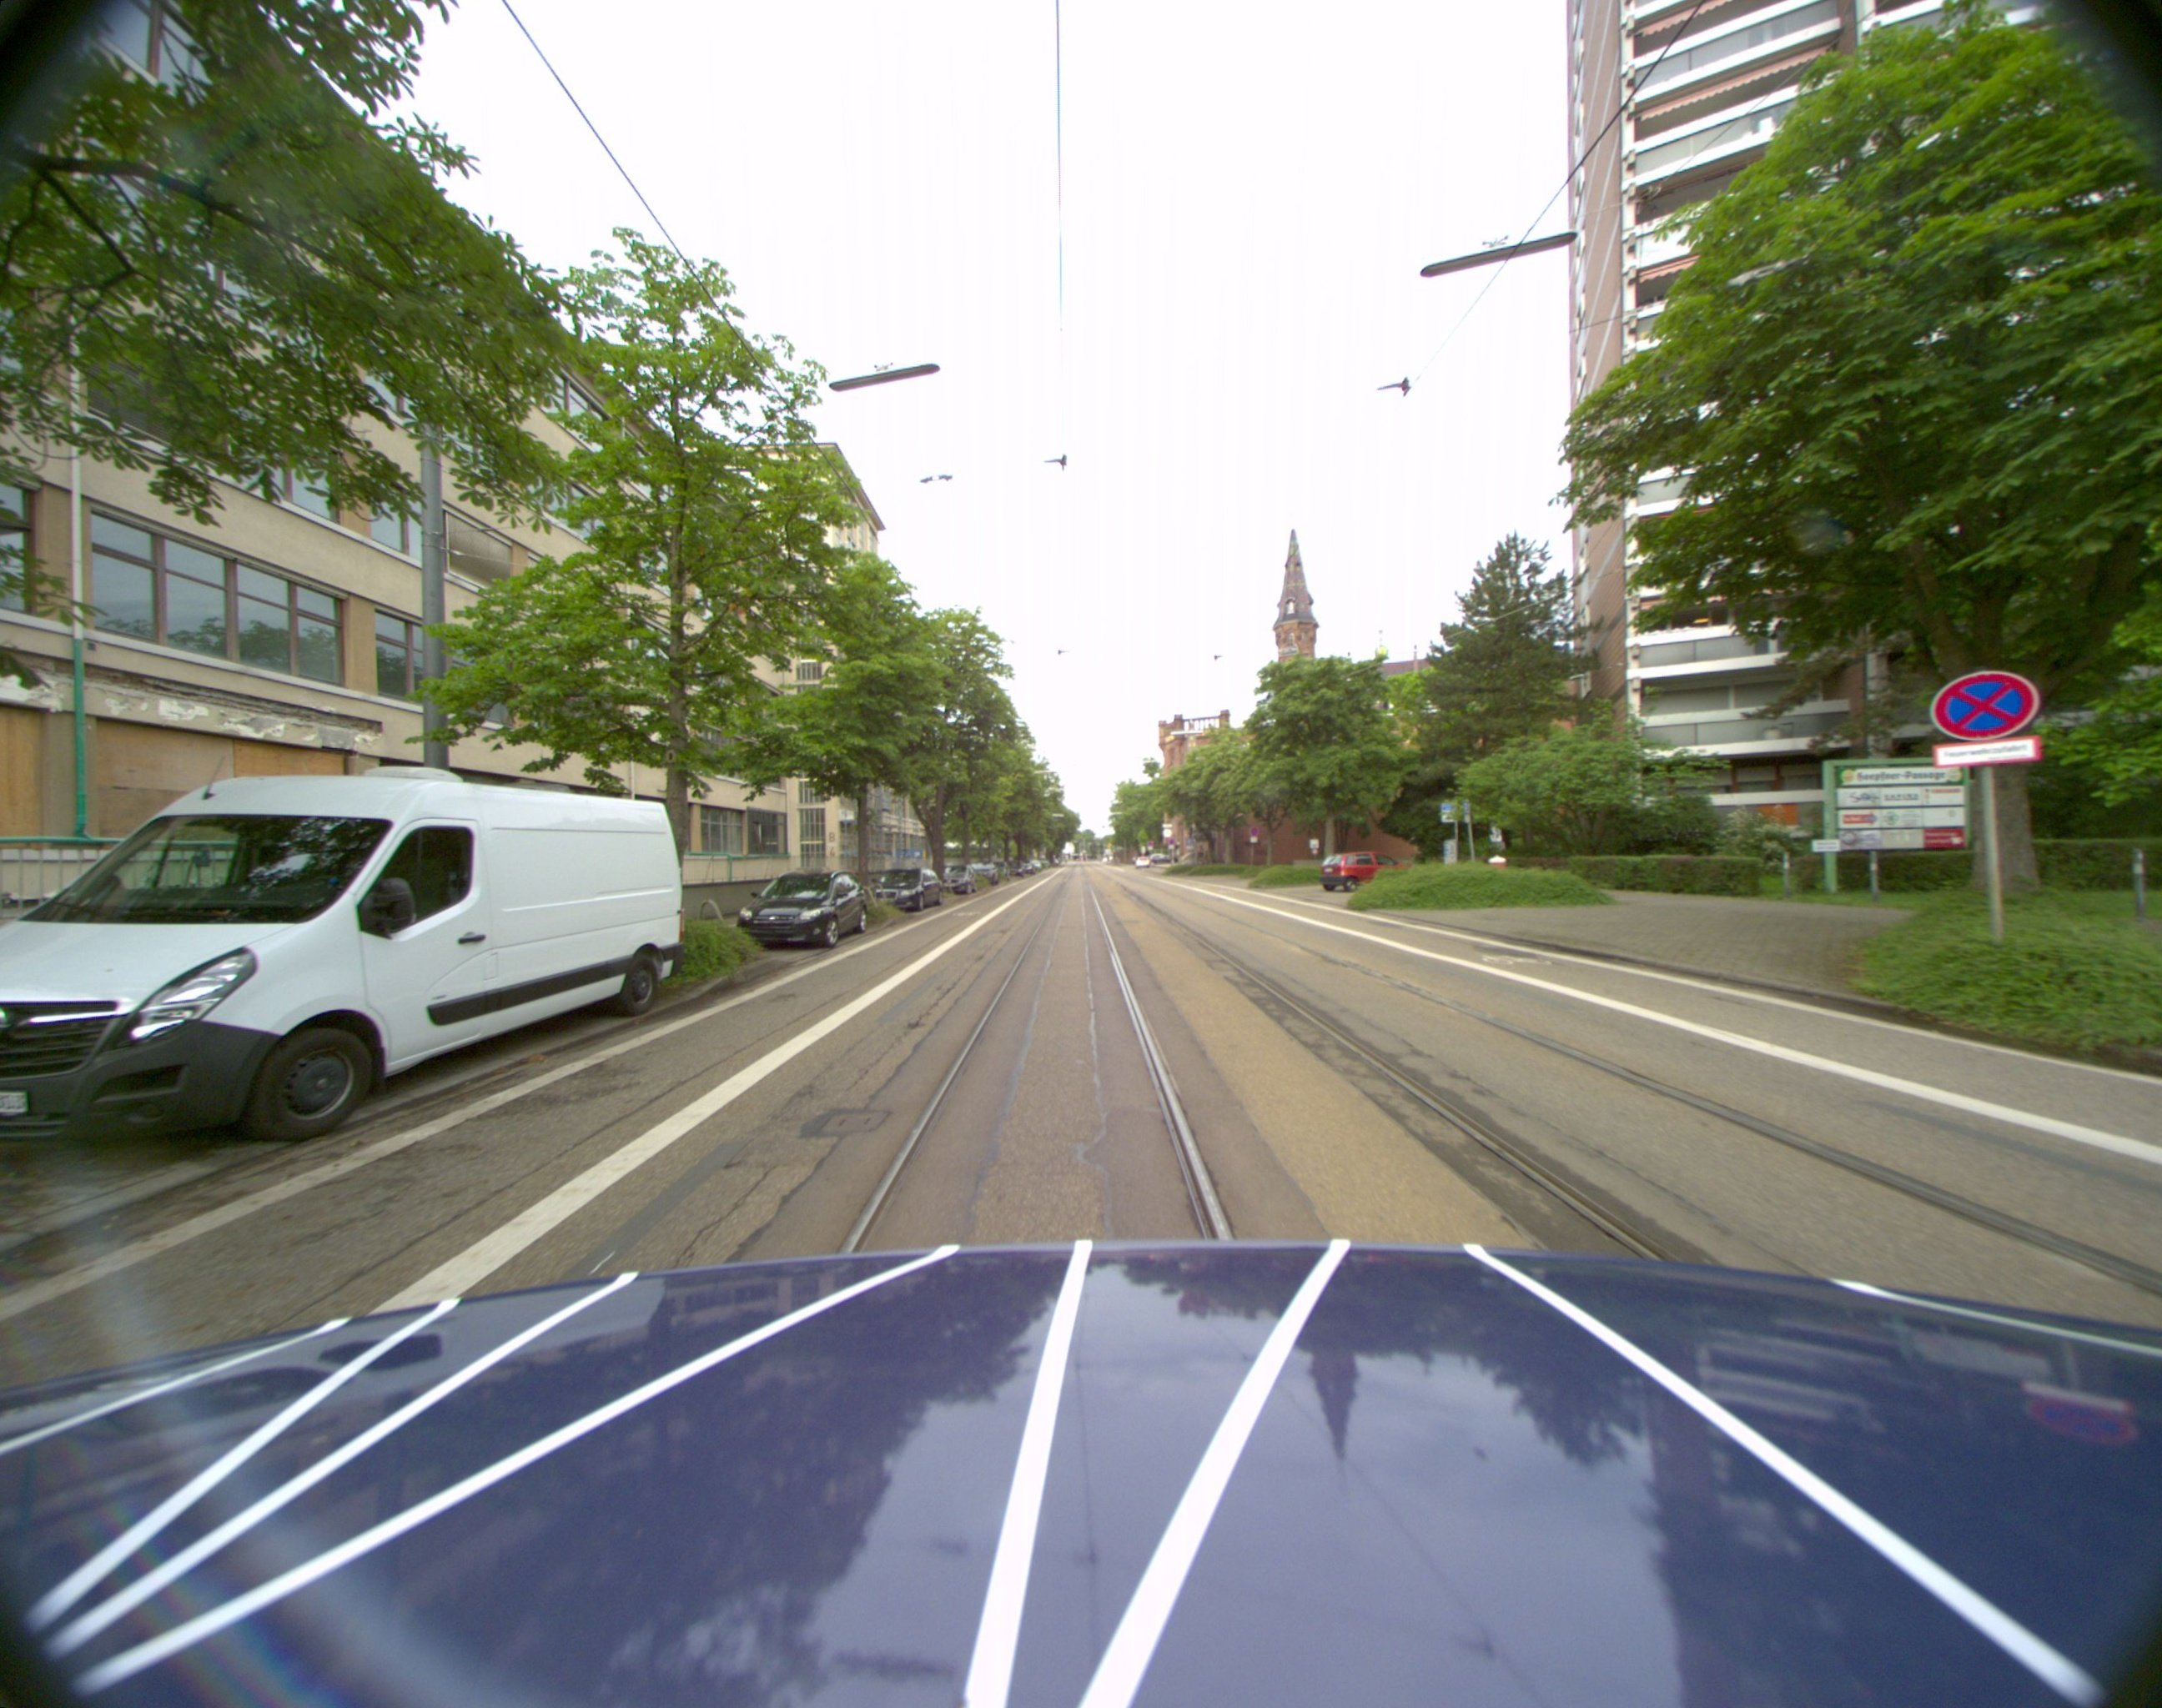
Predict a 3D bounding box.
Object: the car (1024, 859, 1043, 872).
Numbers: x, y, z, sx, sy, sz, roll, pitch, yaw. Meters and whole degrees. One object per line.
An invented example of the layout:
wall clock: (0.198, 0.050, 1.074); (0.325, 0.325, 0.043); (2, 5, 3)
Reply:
car: (-5.918, 1.408, 94.952); (1.999, 1.452, 4.393); (-2, 0, 0)

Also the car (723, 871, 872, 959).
car: (-5.786, 1.169, 16.060); (1.826, 1.491, 4.104); (0, 0, -4)

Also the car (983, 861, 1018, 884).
car: (-5.748, 1.314, 54.554); (1.999, 1.452, 4.393); (-2, 0, 0)

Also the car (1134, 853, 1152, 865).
car: (8.300, 0.667, 101.921); (1.999, 1.521, 4.000); (-1, 0, 0)

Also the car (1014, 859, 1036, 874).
car: (-5.987, 1.303, 81.020); (1.999, 1.452, 4.393); (-2, 0, 0)

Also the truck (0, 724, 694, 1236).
truck: (-5.813, 0.670, 6.605); (2.118, 2.587, 5.491); (-2, 0, -2)

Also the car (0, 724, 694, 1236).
car: (-5.813, 0.670, 6.605); (2.118, 2.587, 5.491); (-2, 0, -2)

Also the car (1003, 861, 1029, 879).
car: (-5.927, 1.418, 69.402); (1.999, 1.452, 4.393); (-2, 0, 0)

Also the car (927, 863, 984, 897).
car: (-6.043, 1.208, 37.120); (1.999, 1.452, 4.393); (-2, 0, 0)

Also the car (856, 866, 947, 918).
car: (-5.916, 1.214, 25.597); (1.999, 1.452, 4.393); (-2, 0, 0)

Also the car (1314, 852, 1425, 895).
car: (10.720, 0.692, 28.303); (3.504, 1.369, 1.632); (-2, 1, -14)

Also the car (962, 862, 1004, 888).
car: (-5.937, 1.245, 46.504); (1.999, 1.452, 4.393); (-2, 0, 0)
